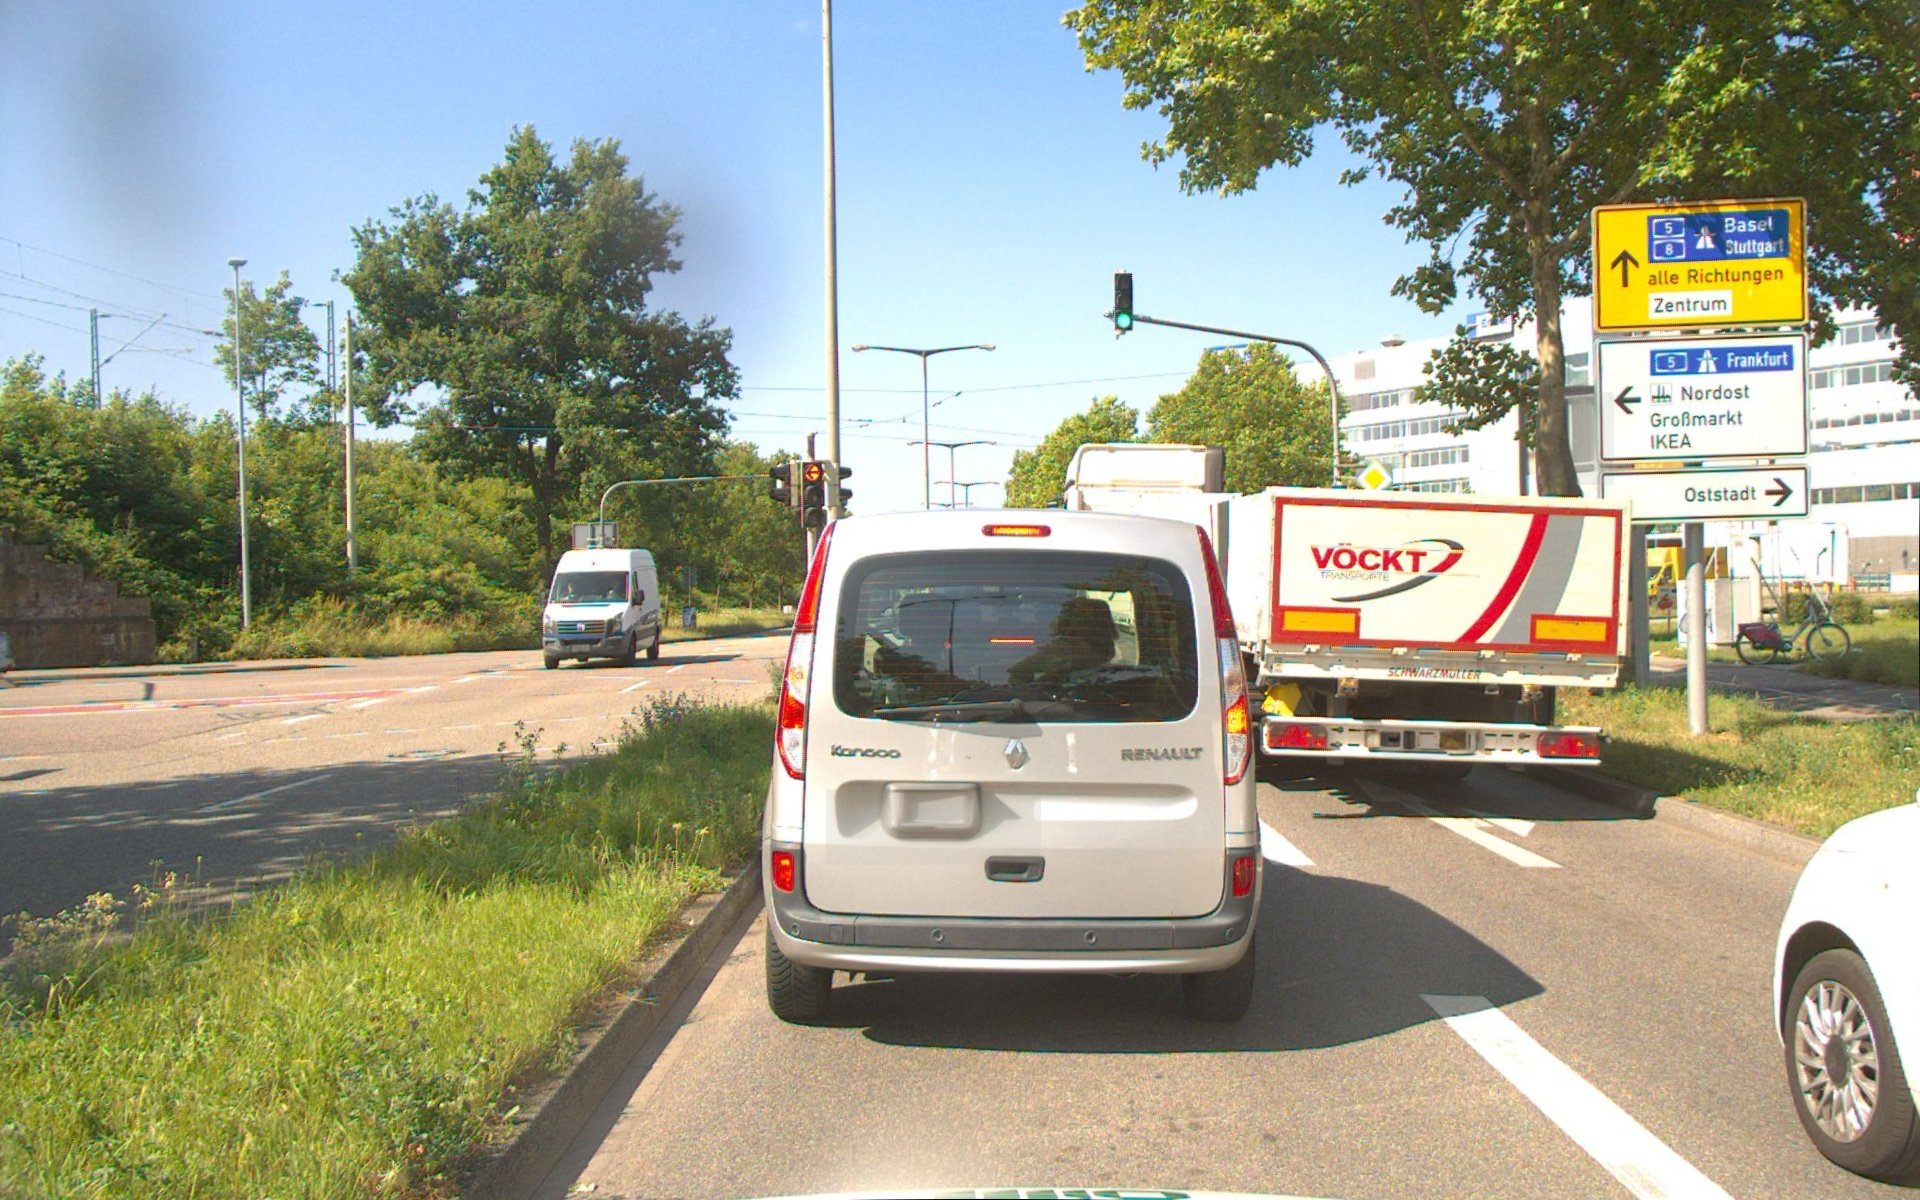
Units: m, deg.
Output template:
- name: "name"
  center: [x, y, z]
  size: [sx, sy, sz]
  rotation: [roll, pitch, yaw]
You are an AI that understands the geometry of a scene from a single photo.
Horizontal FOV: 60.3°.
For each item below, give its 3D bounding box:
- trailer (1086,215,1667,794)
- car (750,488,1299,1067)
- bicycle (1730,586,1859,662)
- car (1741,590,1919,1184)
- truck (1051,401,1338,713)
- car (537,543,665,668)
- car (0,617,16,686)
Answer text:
- name: "trailer"
  center: [3.210, -0.620, 17.012]
  size: [2.954, 3.806, 12.239]
  rotation: [0, 0, 0]
- name: "car"
  center: [0.191, 0.557, 7.142]
  size: [1.713, 1.803, 3.949]
  rotation: [0, 0, 0]
- name: "bicycle"
  center: [13.684, 0.390, 27.165]
  size: [1.786, 1.235, 0.633]
  rotation: [0, 0, 5]
- name: "car"
  center: [3.155, 0.706, 3.278]
  size: [1.627, 1.461, 3.520]
  rotation: [0, 0, 1]
- name: "truck"
  center: [3.086, -0.519, 24.023]
  size: [3.009, 3.823, 7.474]
  rotation: [0, 0, -1]
- name: "car"
  center: [-8.192, 0.122, 38.300]
  size: [2.018, 2.660, 5.865]
  rotation: [0, 0, -4]
- name: "car"
  center: [-22.109, 1.089, 34.311]
  size: [4.184, 1.433, 1.891]
  rotation: [0, 0, -38]
